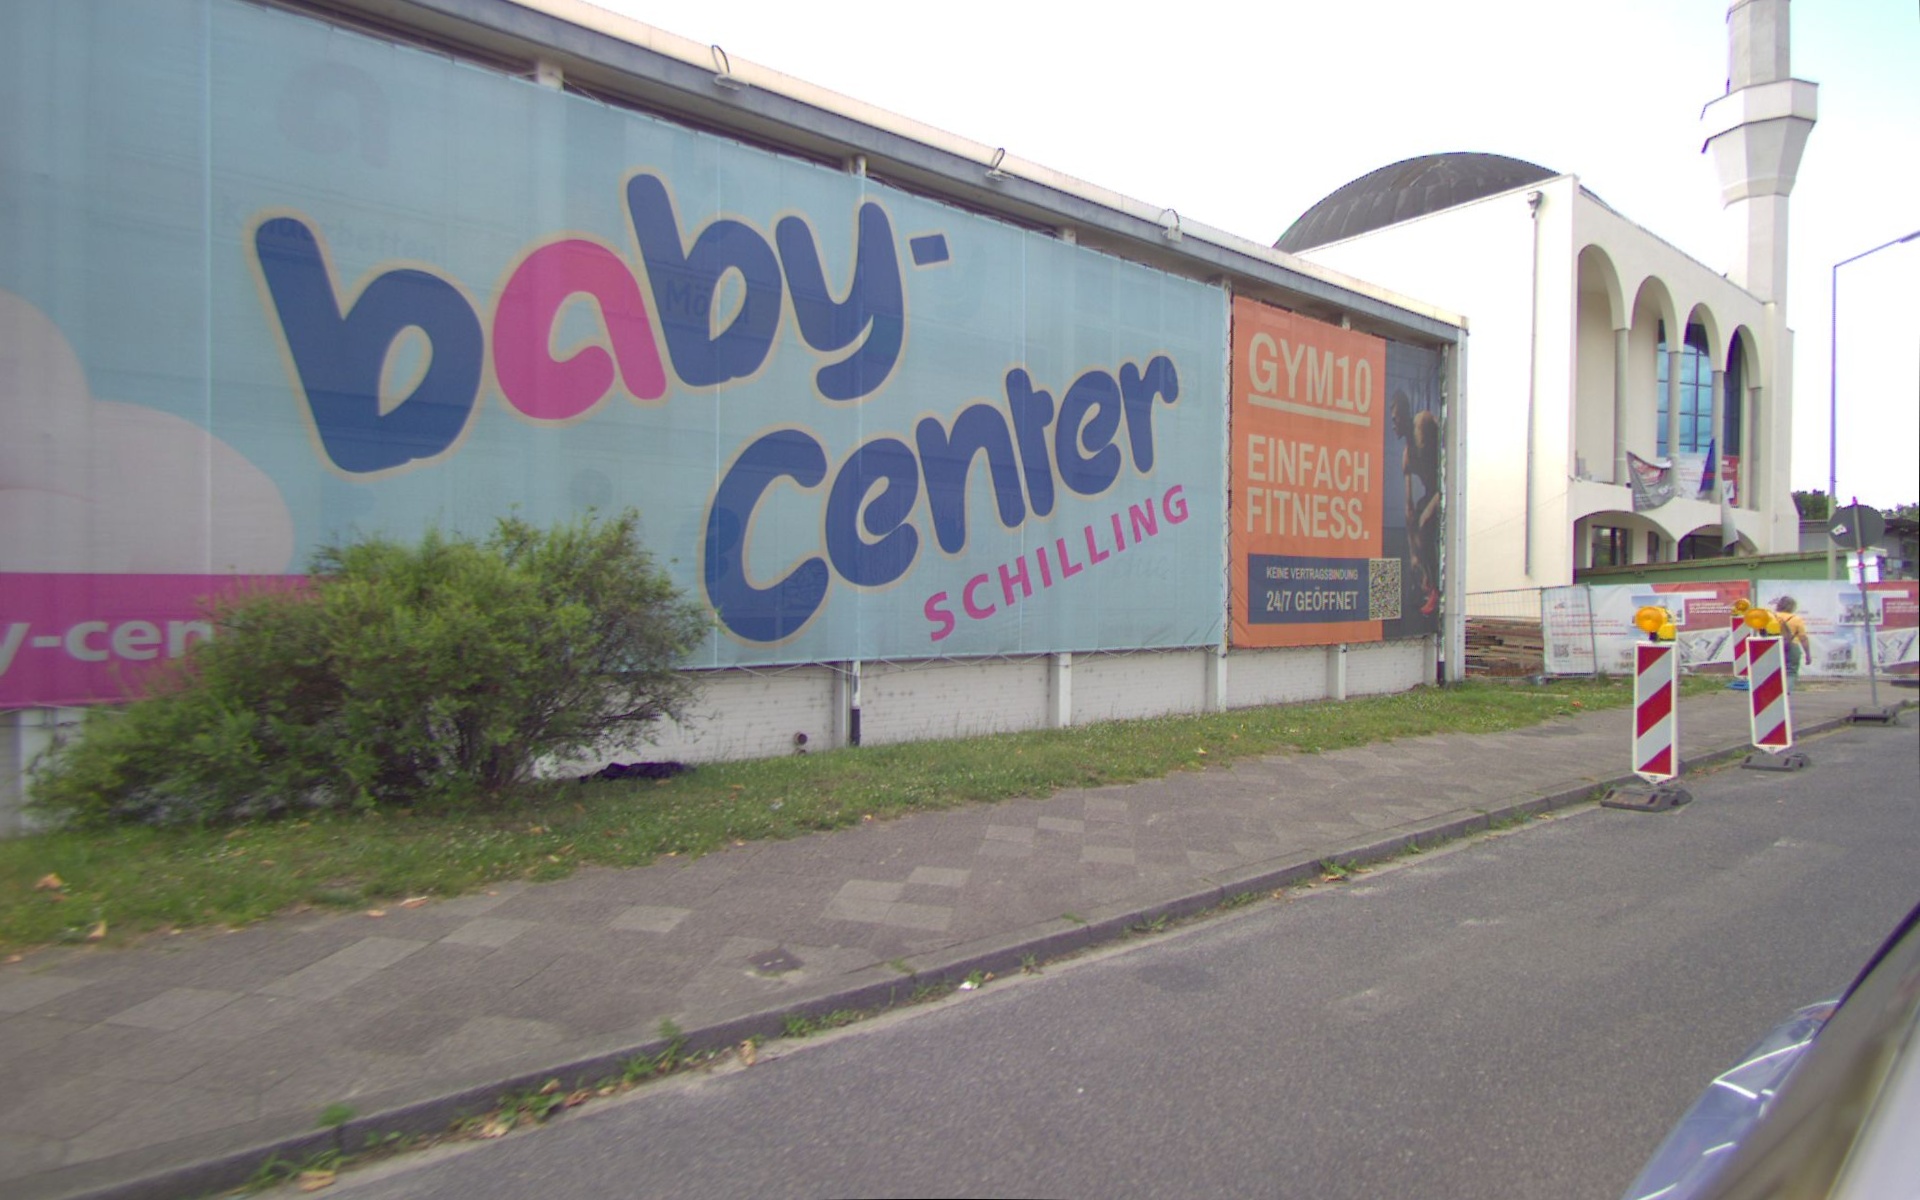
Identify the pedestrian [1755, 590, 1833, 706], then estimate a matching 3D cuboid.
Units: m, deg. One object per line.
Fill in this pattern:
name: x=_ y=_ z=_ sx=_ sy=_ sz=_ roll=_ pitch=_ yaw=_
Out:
pedestrian: x=11.708 y=0.639 z=14.200 sx=1.111 sy=1.553 sz=0.682 roll=0 pitch=1 yaw=-42
